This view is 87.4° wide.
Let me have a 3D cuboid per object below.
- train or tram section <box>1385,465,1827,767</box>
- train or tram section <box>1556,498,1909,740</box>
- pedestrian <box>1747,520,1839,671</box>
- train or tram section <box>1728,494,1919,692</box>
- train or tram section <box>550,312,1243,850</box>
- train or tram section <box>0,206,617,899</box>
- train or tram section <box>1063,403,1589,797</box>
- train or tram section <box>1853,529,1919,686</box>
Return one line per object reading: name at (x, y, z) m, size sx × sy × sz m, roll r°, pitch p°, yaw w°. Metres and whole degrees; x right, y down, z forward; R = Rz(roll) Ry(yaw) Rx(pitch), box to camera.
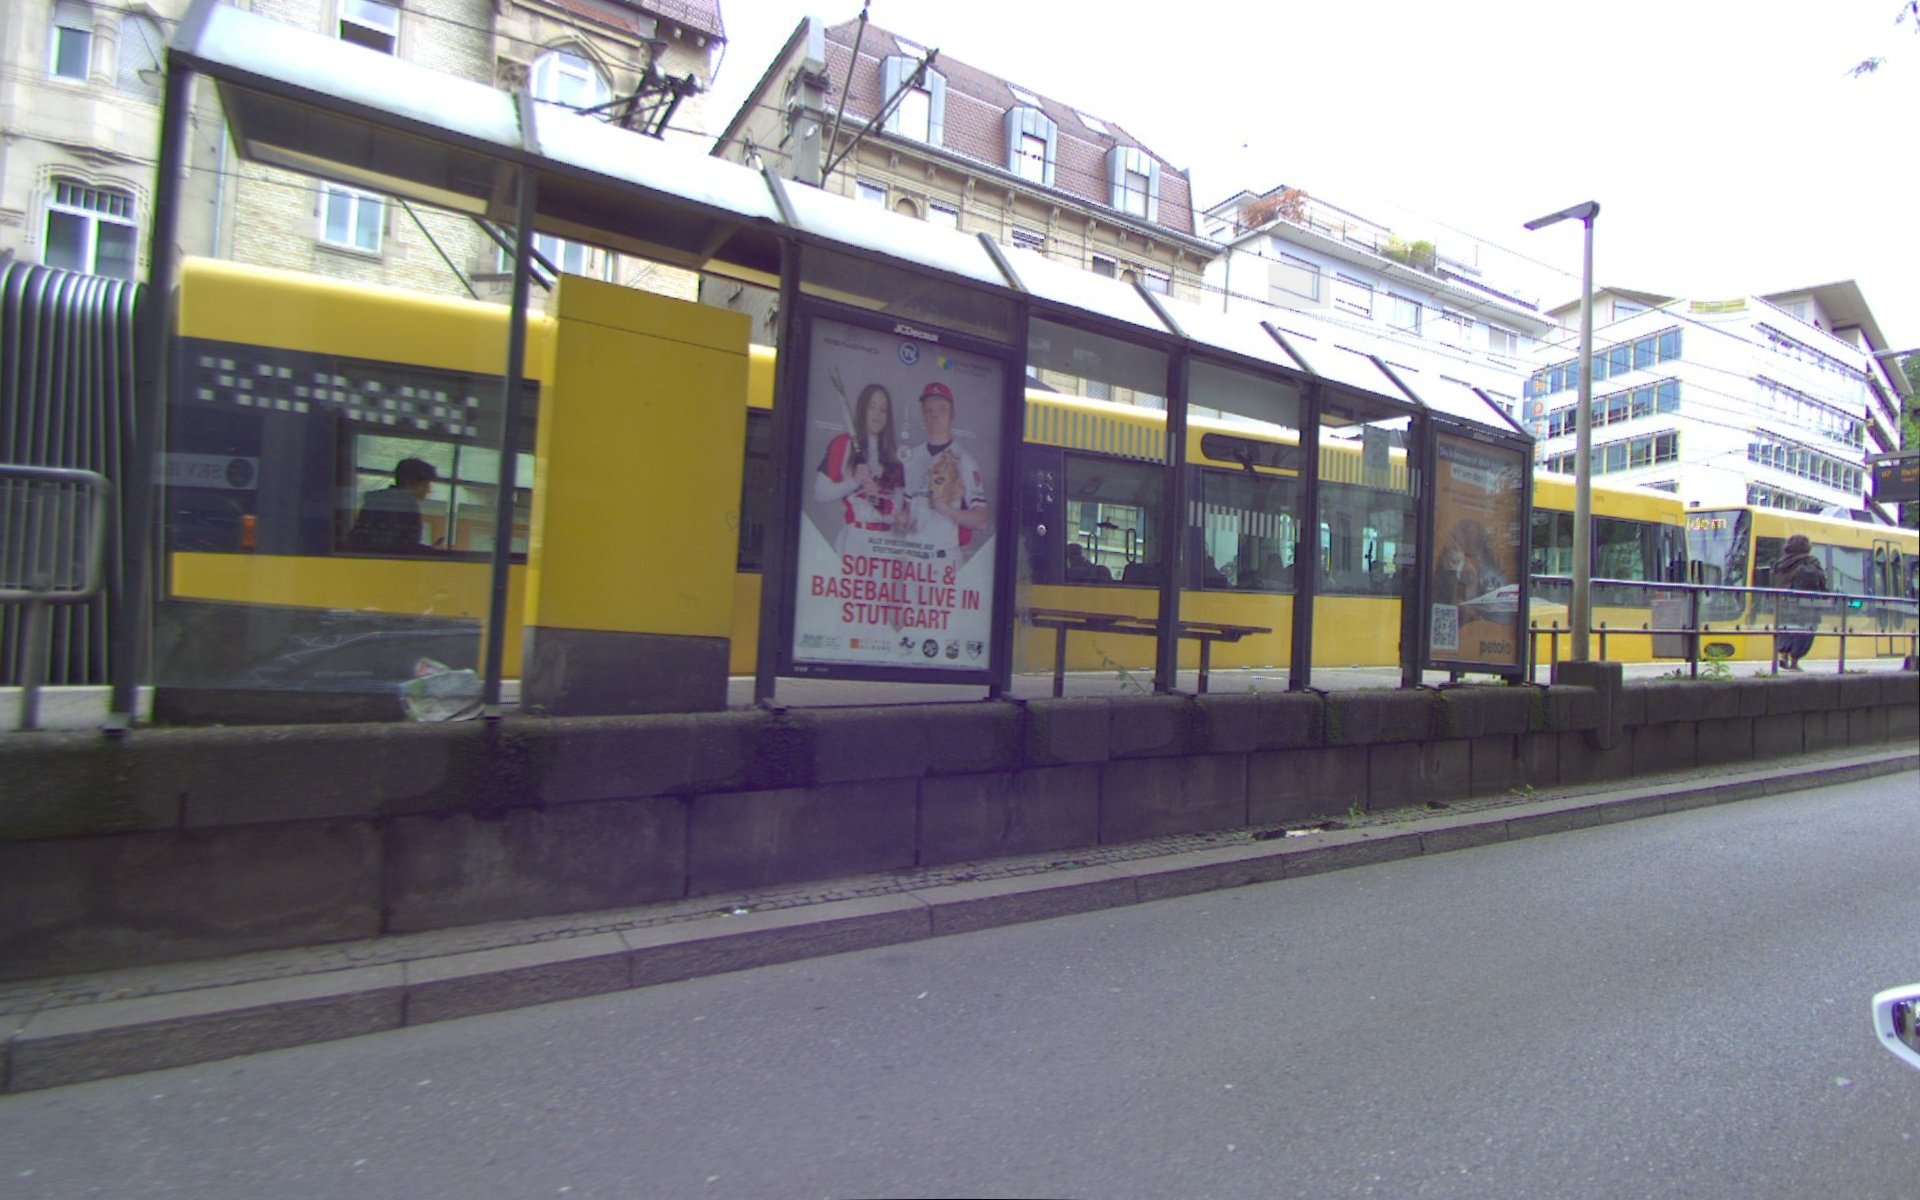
train or tram section at (9.912, 0.304, 15.257) m, size 6.670 × 3.715 × 2.800 m, roll 2°, pitch 0°, yaw -29°
train or tram section at (14.204, 0.394, 18.357) m, size 6.674 × 3.715 × 2.799 m, roll 2°, pitch 0°, yaw -31°
pedestrian at (10.263, -0.041, 12.383) m, size 0.836 × 1.785 × 0.624 m, roll 1°, pitch -1°, yaw -30°
train or tram section at (19.912, -0.028, 21.814) m, size 6.674 × 3.715 × 2.799 m, roll 2°, pitch 0°, yaw -31°
train or tram section at (-0.531, -0.040, 9.303) m, size 5.683 × 3.567 × 2.822 m, roll 2°, pitch 0°, yaw -29°
train or tram section at (-5.476, -0.246, 6.492) m, size 5.683 × 3.567 × 2.822 m, roll 2°, pitch 0°, yaw -29°
train or tram section at (4.484, 0.091, 12.154) m, size 5.832 × 3.715 × 2.800 m, roll 2°, pitch 0°, yaw -29°
train or tram section at (25.636, 0.297, 25.273) m, size 6.674 × 3.715 × 2.799 m, roll 2°, pitch 0°, yaw -31°
